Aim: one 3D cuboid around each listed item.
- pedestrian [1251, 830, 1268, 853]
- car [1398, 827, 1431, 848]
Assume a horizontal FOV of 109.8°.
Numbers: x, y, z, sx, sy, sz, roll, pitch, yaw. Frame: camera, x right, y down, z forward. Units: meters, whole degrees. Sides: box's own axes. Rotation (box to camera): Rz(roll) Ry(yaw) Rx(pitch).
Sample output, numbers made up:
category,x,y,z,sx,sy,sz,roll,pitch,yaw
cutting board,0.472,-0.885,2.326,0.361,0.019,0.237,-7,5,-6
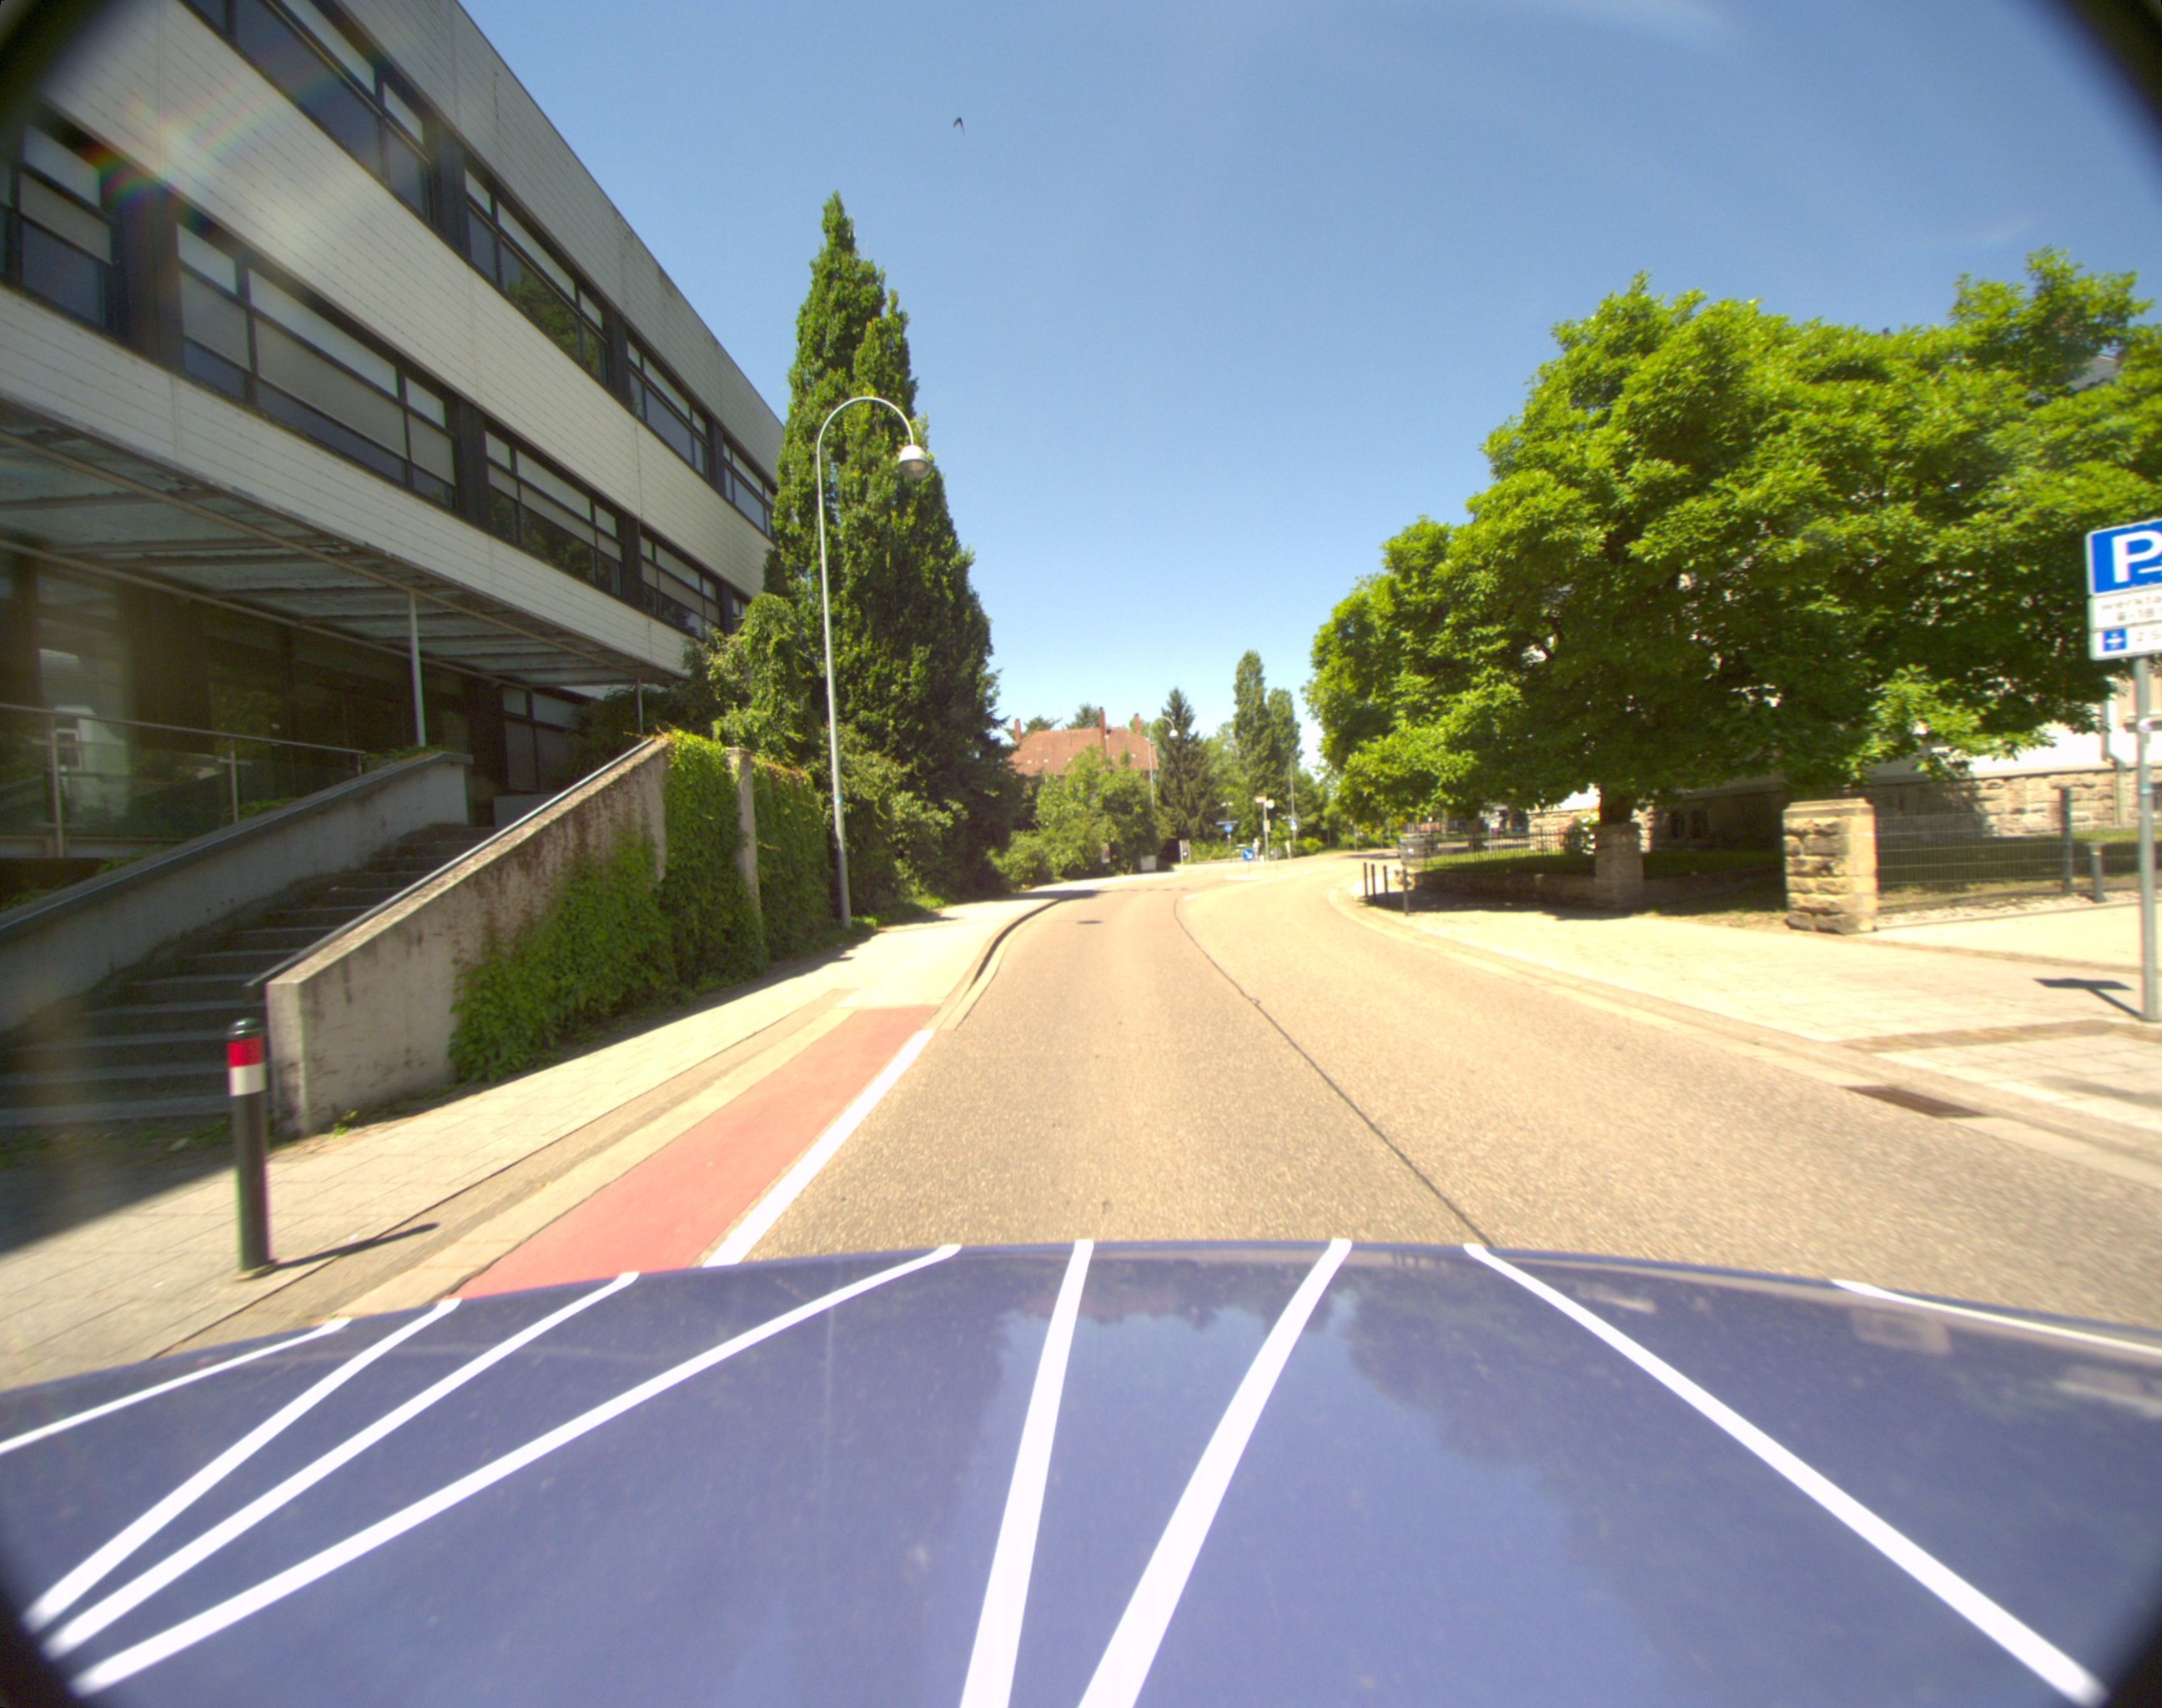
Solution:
category,x,y,z,sx,sy,sz,roll,pitch,yaw
pedestrian,14.067,-0.963,59.868,0.917,1.762,0.912,-3,3,-39
car,24.255,-1.166,55.207,1.759,1.427,4.311,-1,1,29
